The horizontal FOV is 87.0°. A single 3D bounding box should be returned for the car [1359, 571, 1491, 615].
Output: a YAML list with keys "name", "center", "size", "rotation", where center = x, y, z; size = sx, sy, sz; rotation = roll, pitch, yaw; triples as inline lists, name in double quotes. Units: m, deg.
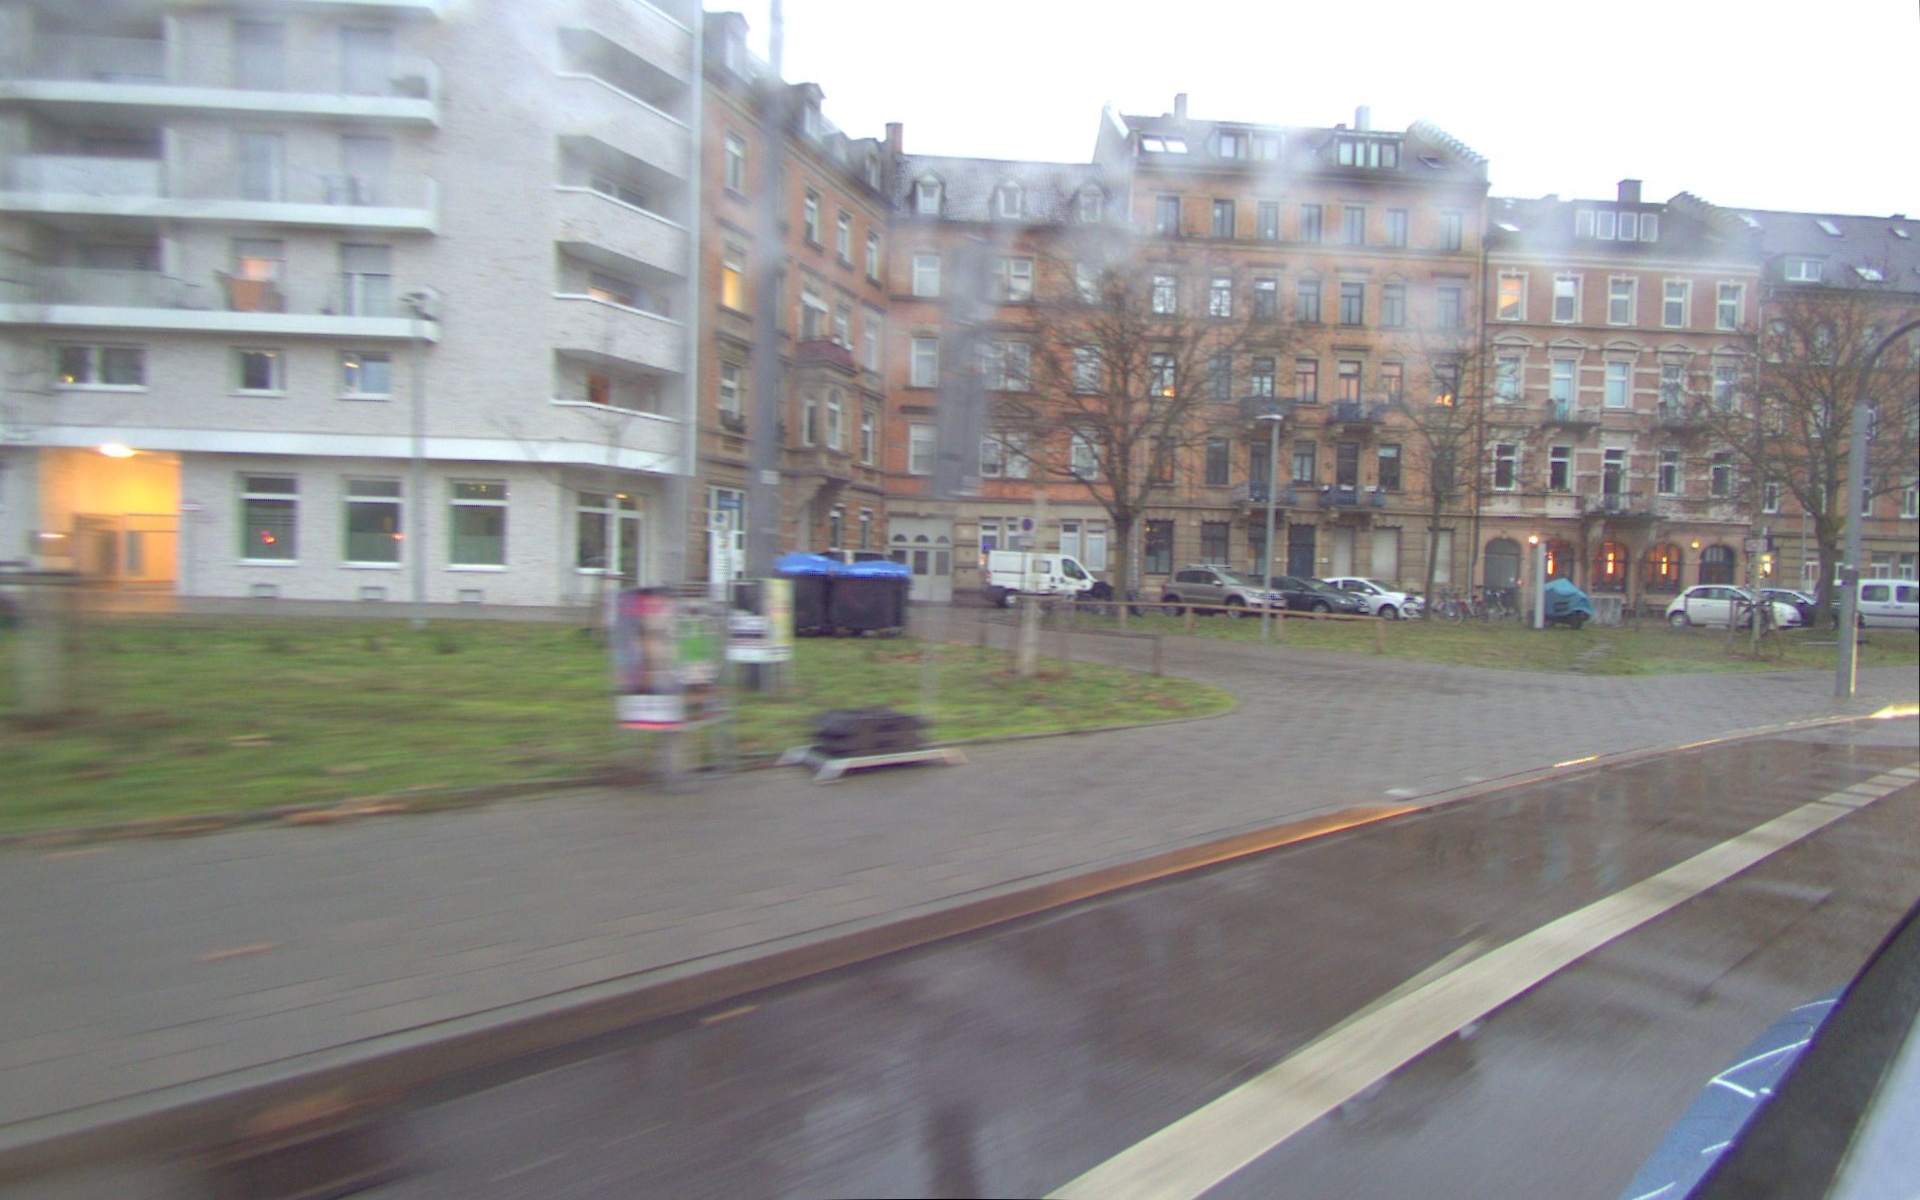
- name: "car"
  center: [15.253, -0.261, 33.347]
  size: [1.492, 1.322, 3.690]
  rotation: [0, 2, -34]

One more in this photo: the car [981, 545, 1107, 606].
- name: "car"
  center: [3.246, -0.954, 39.556]
  size: [4.567, 2.216, 2.003]
  rotation: [1, 1, -6]

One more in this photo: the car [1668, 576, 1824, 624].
- name: "car"
  center: [25.539, -0.024, 32.995]
  size: [1.491, 1.417, 3.691]
  rotation: [0, 2, -33]

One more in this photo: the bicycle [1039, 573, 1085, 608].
- name: "bicycle"
  center: [3.088, -0.300, 30.721]
  size: [0.437, 0.942, 1.799]
  rotation: [0, 4, -28]

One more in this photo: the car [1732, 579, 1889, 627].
- name: "car"
  center: [28.151, 0.064, 33.614]
  size: [1.491, 1.454, 3.691]
  rotation: [0, 2, -33]

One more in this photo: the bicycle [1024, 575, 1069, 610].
- name: "bicycle"
  center: [2.586, -0.245, 30.441]
  size: [0.437, 0.942, 1.799]
  rotation: [0, 4, -28]

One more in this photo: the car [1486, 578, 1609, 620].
- name: "car"
  center: [20.028, -0.057, 34.610]
  size: [1.491, 1.322, 3.303]
  rotation: [0, 2, -33]

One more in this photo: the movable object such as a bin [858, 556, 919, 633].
- name: "movable object such as a bin"
  center: [-1.451, -0.121, 20.670]
  size: [1.119, 1.504, 1.053]
  rotation: [1, 1, 2]

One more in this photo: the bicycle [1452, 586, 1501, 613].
- name: "bicycle"
  center: [17.263, -0.034, 33.864]
  size: [0.436, 0.787, 1.800]
  rotation: [1, 3, -10]

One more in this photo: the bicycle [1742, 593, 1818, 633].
- name: "bicycle"
  center: [22.518, 0.341, 27.848]
  size: [0.437, 0.942, 1.799]
  rotation: [2, 3, -6]

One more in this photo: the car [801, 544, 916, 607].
- name: "car"
  center: [-3.316, -0.829, 34.025]
  size: [1.921, 1.966, 4.564]
  rotation: [2, 2, 22]

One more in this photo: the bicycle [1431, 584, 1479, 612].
- name: "bicycle"
  center: [16.589, -0.088, 33.960]
  size: [0.436, 0.804, 1.800]
  rotation: [1, 3, -10]

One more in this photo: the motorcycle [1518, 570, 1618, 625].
- name: "motorcycle"
  center: [17.375, -0.096, 29.009]
  size: [0.866, 1.362, 2.365]
  rotation: [0, 5, -20]

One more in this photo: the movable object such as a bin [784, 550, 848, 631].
- name: "movable object such as a bin"
  center: [-2.956, -0.201, 20.826]
  size: [1.119, 1.595, 1.053]
  rotation: [1, 1, 2]

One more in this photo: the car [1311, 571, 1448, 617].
- name: "car"
  center: [13.212, -0.227, 32.038]
  size: [1.636, 1.322, 3.690]
  rotation: [0, 2, -34]

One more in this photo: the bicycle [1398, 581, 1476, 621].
- name: "bicycle"
  center: [13.629, 0.019, 28.964]
  size: [1.881, 1.031, 0.534]
  rotation: [3, 3, 16]

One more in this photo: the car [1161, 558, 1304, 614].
- name: "car"
  center: [8.336, -0.465, 31.293]
  size: [1.709, 1.589, 4.158]
  rotation: [0, 2, -34]

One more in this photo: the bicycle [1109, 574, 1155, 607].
- name: "bicycle"
  center: [5.483, -0.320, 32.386]
  size: [0.437, 0.942, 1.799]
  rotation: [0, 4, -28]

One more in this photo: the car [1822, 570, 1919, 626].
- name: "car"
  center: [31.383, -0.055, 33.214]
  size: [1.747, 1.790, 4.348]
  rotation: [0, 2, -34]

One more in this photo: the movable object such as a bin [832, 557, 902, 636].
- name: "movable object such as a bin"
  center: [-1.782, -0.080, 19.566]
  size: [1.202, 1.450, 1.053]
  rotation: [1, 1, 2]

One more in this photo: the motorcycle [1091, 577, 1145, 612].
- name: "motorcycle"
  center: [4.738, -0.168, 30.480]
  size: [0.503, 0.942, 1.797]
  rotation: [0, 4, -33]

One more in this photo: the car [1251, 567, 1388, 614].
- name: "car"
  center: [11.038, -0.318, 31.262]
  size: [1.709, 1.322, 3.690]
  rotation: [0, 2, -34]

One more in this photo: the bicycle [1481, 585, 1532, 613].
- name: "bicycle"
  center: [18.418, -0.055, 34.128]
  size: [0.386, 0.827, 1.800]
  rotation: [1, 3, -13]

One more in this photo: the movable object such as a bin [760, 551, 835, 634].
- name: "movable object such as a bin"
  center: [-3.096, -0.153, 19.382]
  size: [1.229, 1.529, 1.053]
  rotation: [1, 1, 2]
